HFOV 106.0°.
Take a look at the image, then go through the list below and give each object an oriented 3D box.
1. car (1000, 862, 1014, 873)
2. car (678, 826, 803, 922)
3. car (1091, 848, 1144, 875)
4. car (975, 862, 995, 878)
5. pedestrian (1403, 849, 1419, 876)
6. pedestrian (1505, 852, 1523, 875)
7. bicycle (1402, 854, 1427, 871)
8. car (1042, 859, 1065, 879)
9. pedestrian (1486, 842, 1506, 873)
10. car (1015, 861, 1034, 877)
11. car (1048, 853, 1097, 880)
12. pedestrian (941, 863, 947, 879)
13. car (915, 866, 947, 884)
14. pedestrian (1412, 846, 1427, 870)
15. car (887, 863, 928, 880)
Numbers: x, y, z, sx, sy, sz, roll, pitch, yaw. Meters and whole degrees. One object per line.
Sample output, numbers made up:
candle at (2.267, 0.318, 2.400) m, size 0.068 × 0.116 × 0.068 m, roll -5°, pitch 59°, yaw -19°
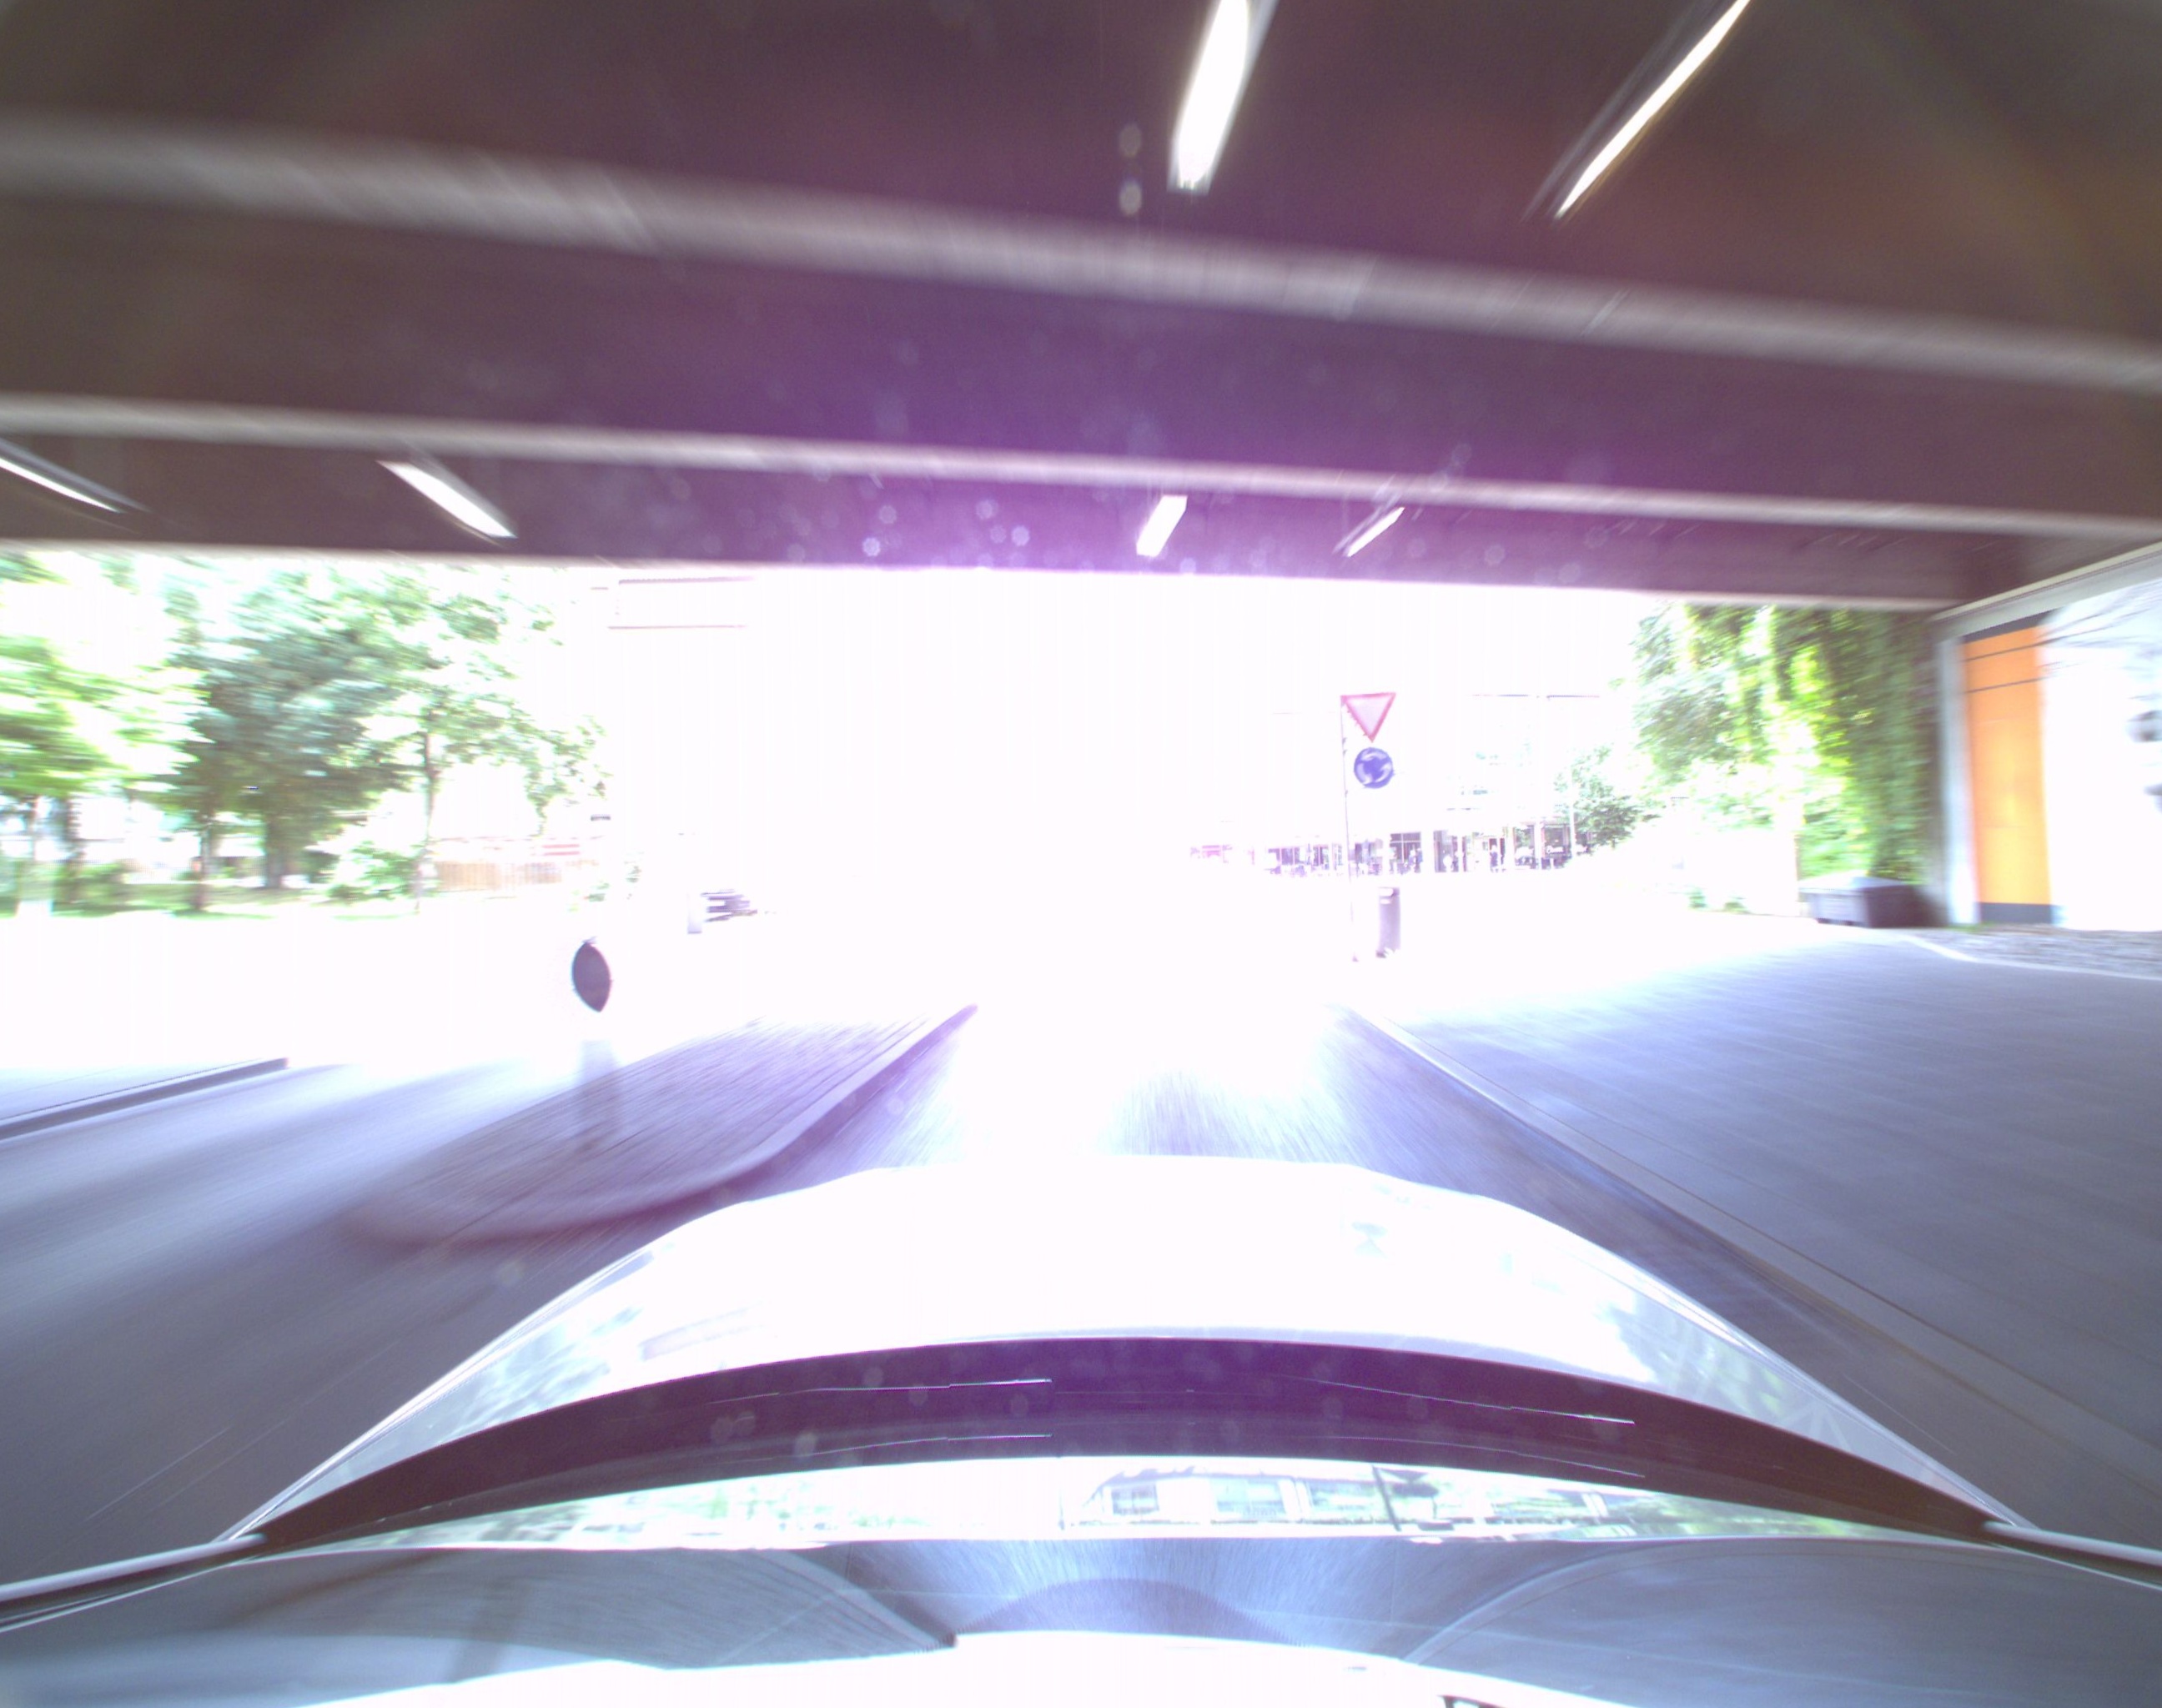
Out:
car at (-9.688, 1.747, 105.973) m, size 1.707 × 1.354 × 3.991 m, roll -1°, pitch 0°, yaw -6°
car at (-10.258, 0.562, 25.096) m, size 1.966 × 2.607 × 5.916 m, roll 0°, pitch -1°, yaw -7°
car at (2.435, 0.534, 55.610) m, size 2.000 × 1.688 × 4.661 m, roll -2°, pitch 0°, yaw -20°
car at (-8.757, 1.432, 74.314) m, size 1.707 × 1.354 × 3.991 m, roll -1°, pitch 0°, yaw -6°
pedestrian at (20.471, 0.523, 50.555) m, size 0.699 × 1.674 × 0.612 m, roll -1°, pitch -1°, yaw -26°
pedestrian at (24.672, 0.520, 46.440) m, size 0.613 × 1.285 × 0.697 m, roll -1°, pitch -1°, yaw -1°
bicycle at (23.440, 0.584, 57.249) m, size 1.523 × 1.168 × 0.499 m, roll -1°, pitch -2°, yaw 30°
car at (-2.432, 1.331, 73.169) m, size 1.818 × 1.731 × 4.233 m, roll -3°, pitch -1°, yaw 1°
pedestrian at (25.107, 0.231, 49.259) m, size 0.615 × 1.818 × 0.696 m, roll -5°, pitch 0°, yaw -8°
car at (-5.693, 1.501, 82.491) m, size 1.820 × 1.519 × 4.227 m, roll -2°, pitch -1°, yaw -3°
car at (-0.640, 0.849, 54.917) m, size 1.831 × 1.707 × 4.407 m, roll 0°, pitch -1°, yaw -22°
pedestrian at (-15.076, 1.876, 89.516) m, size 0.550 × 1.686 × 0.515 m, roll -1°, pitch 0°, yaw -6°
car at (-11.502, 1.600, 62.727) m, size 1.705 × 1.245 × 4.409 m, roll -1°, pitch 0°, yaw -1°
pedestrian at (23.740, 0.261, 57.072) m, size 0.696 × 1.674 × 0.614 m, roll -1°, pitch -1°, yaw -14°
car at (-19.901, 1.997, 93.540) m, size 4.431 × 1.776 × 1.987 m, roll -1°, pitch -1°, yaw -19°
